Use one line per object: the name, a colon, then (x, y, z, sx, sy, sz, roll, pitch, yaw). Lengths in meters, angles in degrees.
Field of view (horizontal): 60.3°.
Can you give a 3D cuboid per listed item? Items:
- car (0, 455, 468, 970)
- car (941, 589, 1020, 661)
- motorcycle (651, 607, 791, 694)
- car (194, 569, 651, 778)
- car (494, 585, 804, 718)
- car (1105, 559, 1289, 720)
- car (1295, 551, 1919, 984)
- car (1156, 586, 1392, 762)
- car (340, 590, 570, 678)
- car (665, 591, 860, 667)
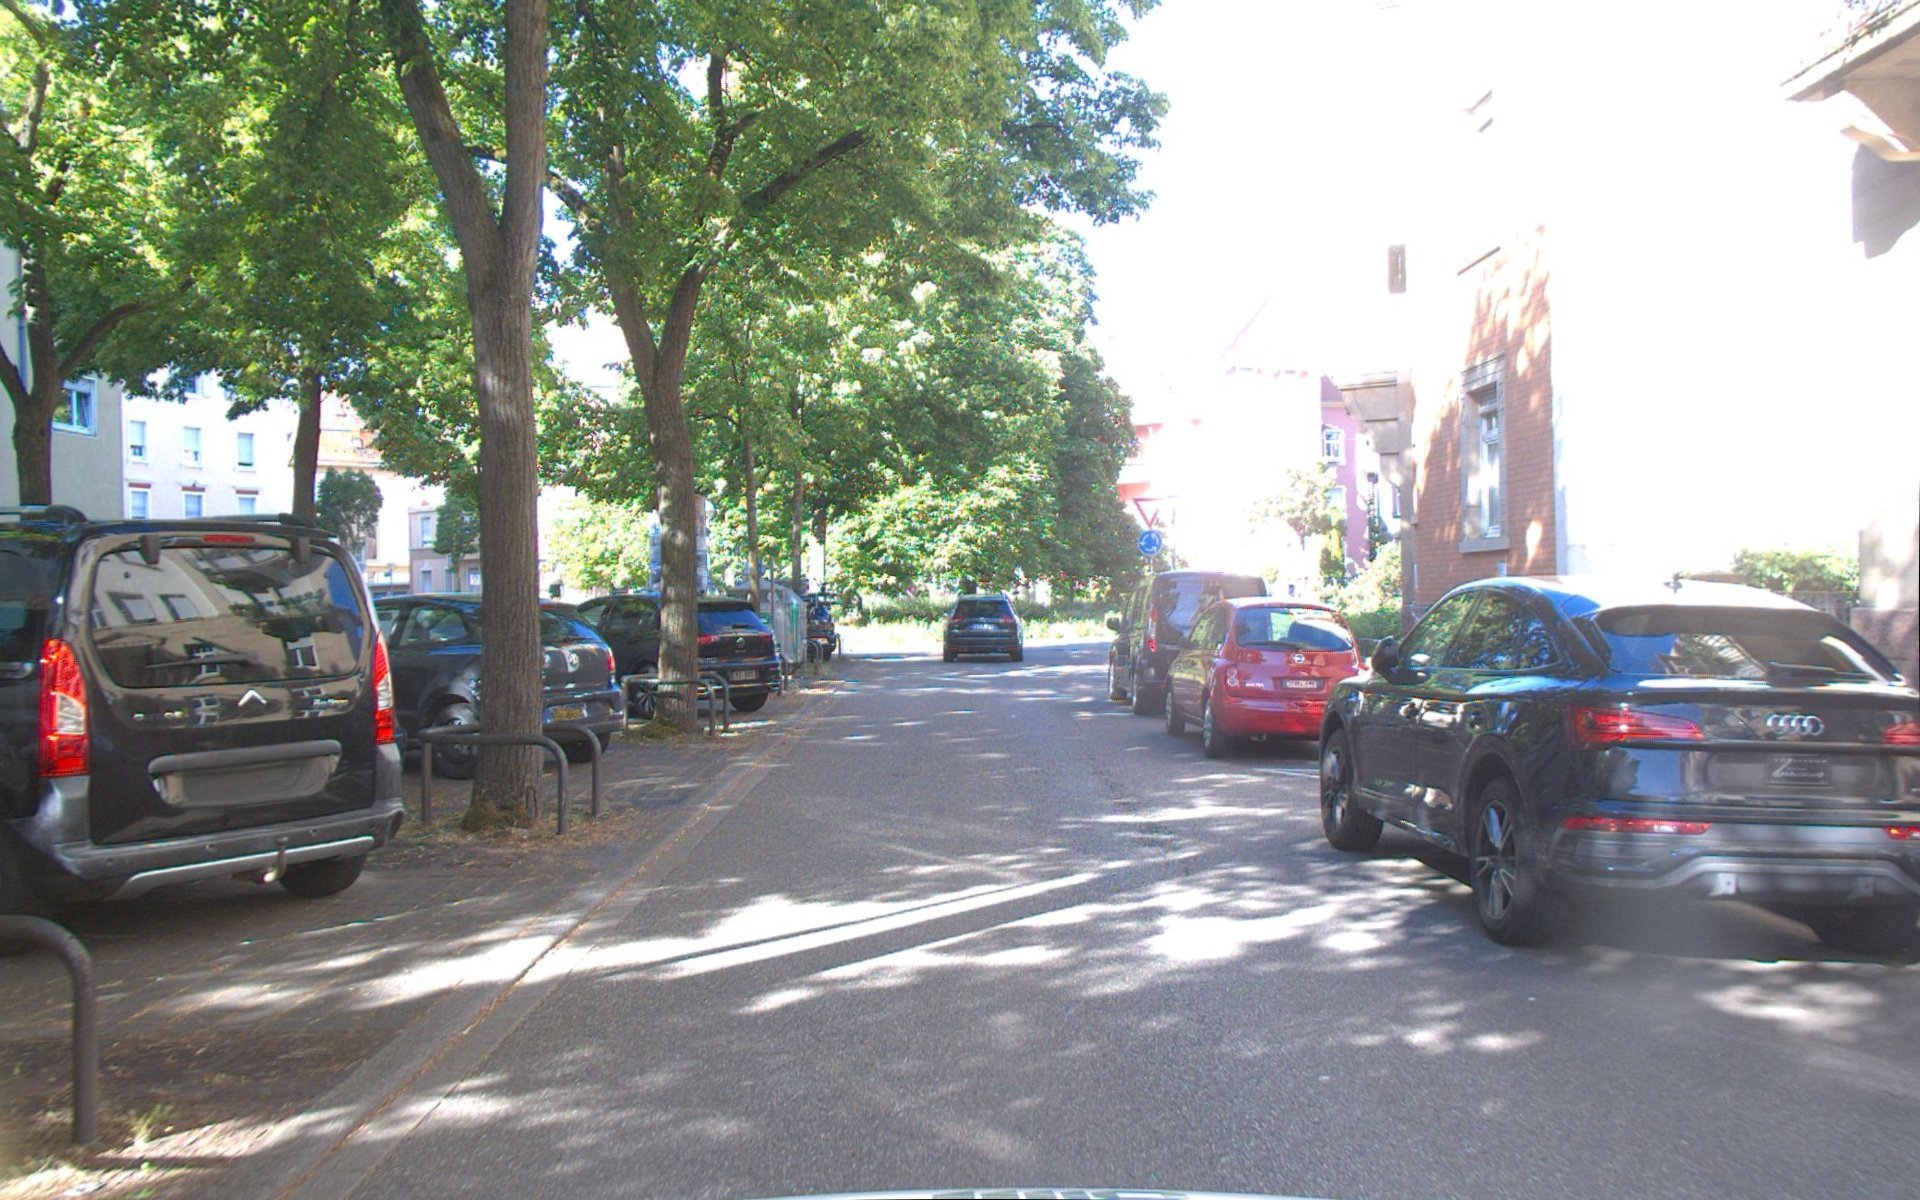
car: (-4.359, 0.405, 8.002, 3.772, 1.921, 1.838, 0, 1, 35)
car: (0.477, 0.531, 37.727, 1.679, 1.509, 4.145, -2, 0, 1)
motorcycle: (-3.417, 0.721, 23.705, 1.898, 1.191, 0.518, -1, 0, 3)
car: (-4.646, 0.569, 14.268, 3.652, 1.609, 1.635, 0, 0, 26)
car: (-3.946, 0.598, 20.639, 4.033, 1.492, 1.854, 0, -1, 45)
car: (3.106, 0.484, 22.497, 1.765, 1.903, 4.272, 3, 0, -1)
car: (3.241, 0.658, 8.703, 1.827, 1.672, 4.489, 1, 0, -3)
car: (3.151, 0.686, 17.324, 1.612, 1.564, 3.999, 2, 0, -1)
car: (-9.319, 0.619, 30.643, 3.707, 1.491, 1.646, -2, 0, 11)
car: (-4.156, 0.596, 34.510, 4.065, 1.507, 1.766, -1, -1, 40)
